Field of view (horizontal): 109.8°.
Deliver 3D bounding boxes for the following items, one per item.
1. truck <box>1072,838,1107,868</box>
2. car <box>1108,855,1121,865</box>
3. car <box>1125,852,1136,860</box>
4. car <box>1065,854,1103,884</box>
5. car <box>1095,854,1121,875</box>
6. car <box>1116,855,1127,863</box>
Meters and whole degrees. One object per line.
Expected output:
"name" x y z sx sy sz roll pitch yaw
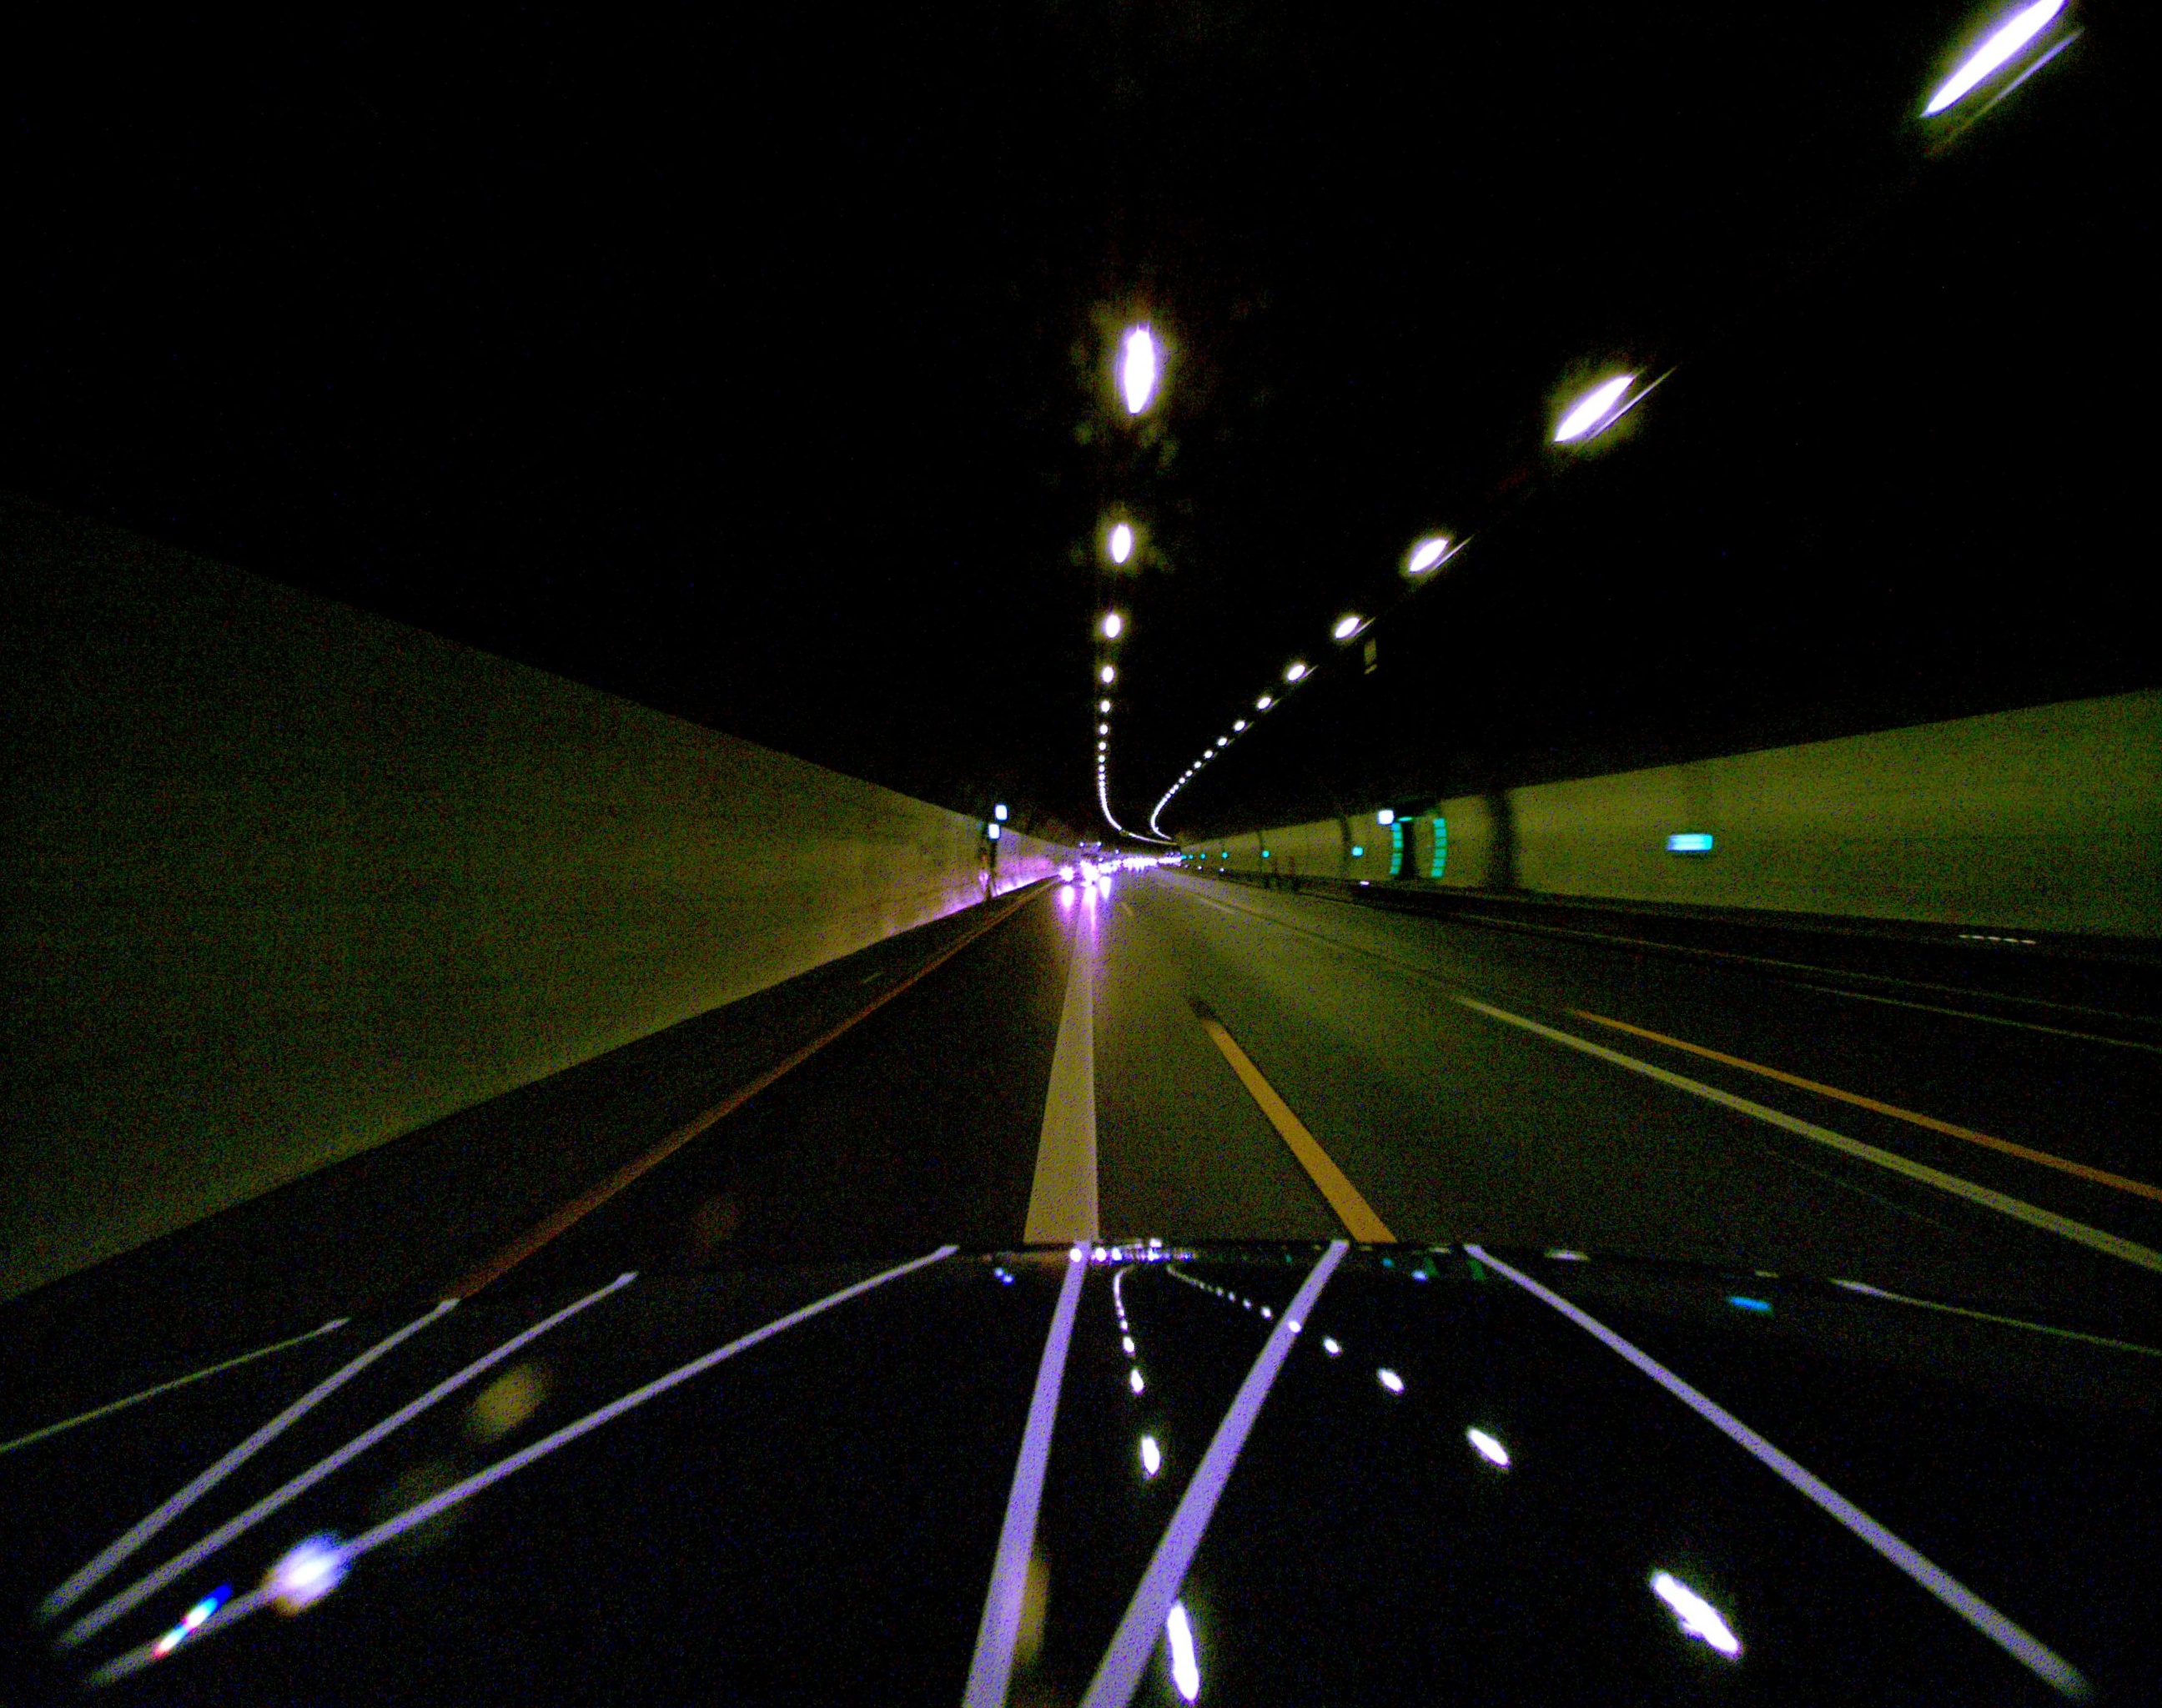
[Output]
"truck" 1.075 -0.052 84.444 2.987 3.161 10.514 0 -1 5
"car" 6.363 1.154 142.699 1.997 1.892 4.003 0 0 10
"car" 12.092 0.528 186.764 1.996 1.917 4.390 0 -1 14
"car" 0.163 0.867 45.807 2.172 1.709 4.481 0 -1 0
"car" 2.213 0.883 63.214 1.998 1.655 4.000 -1 0 1
"car" 9.102 1.113 170.320 1.997 1.892 4.004 0 0 12
